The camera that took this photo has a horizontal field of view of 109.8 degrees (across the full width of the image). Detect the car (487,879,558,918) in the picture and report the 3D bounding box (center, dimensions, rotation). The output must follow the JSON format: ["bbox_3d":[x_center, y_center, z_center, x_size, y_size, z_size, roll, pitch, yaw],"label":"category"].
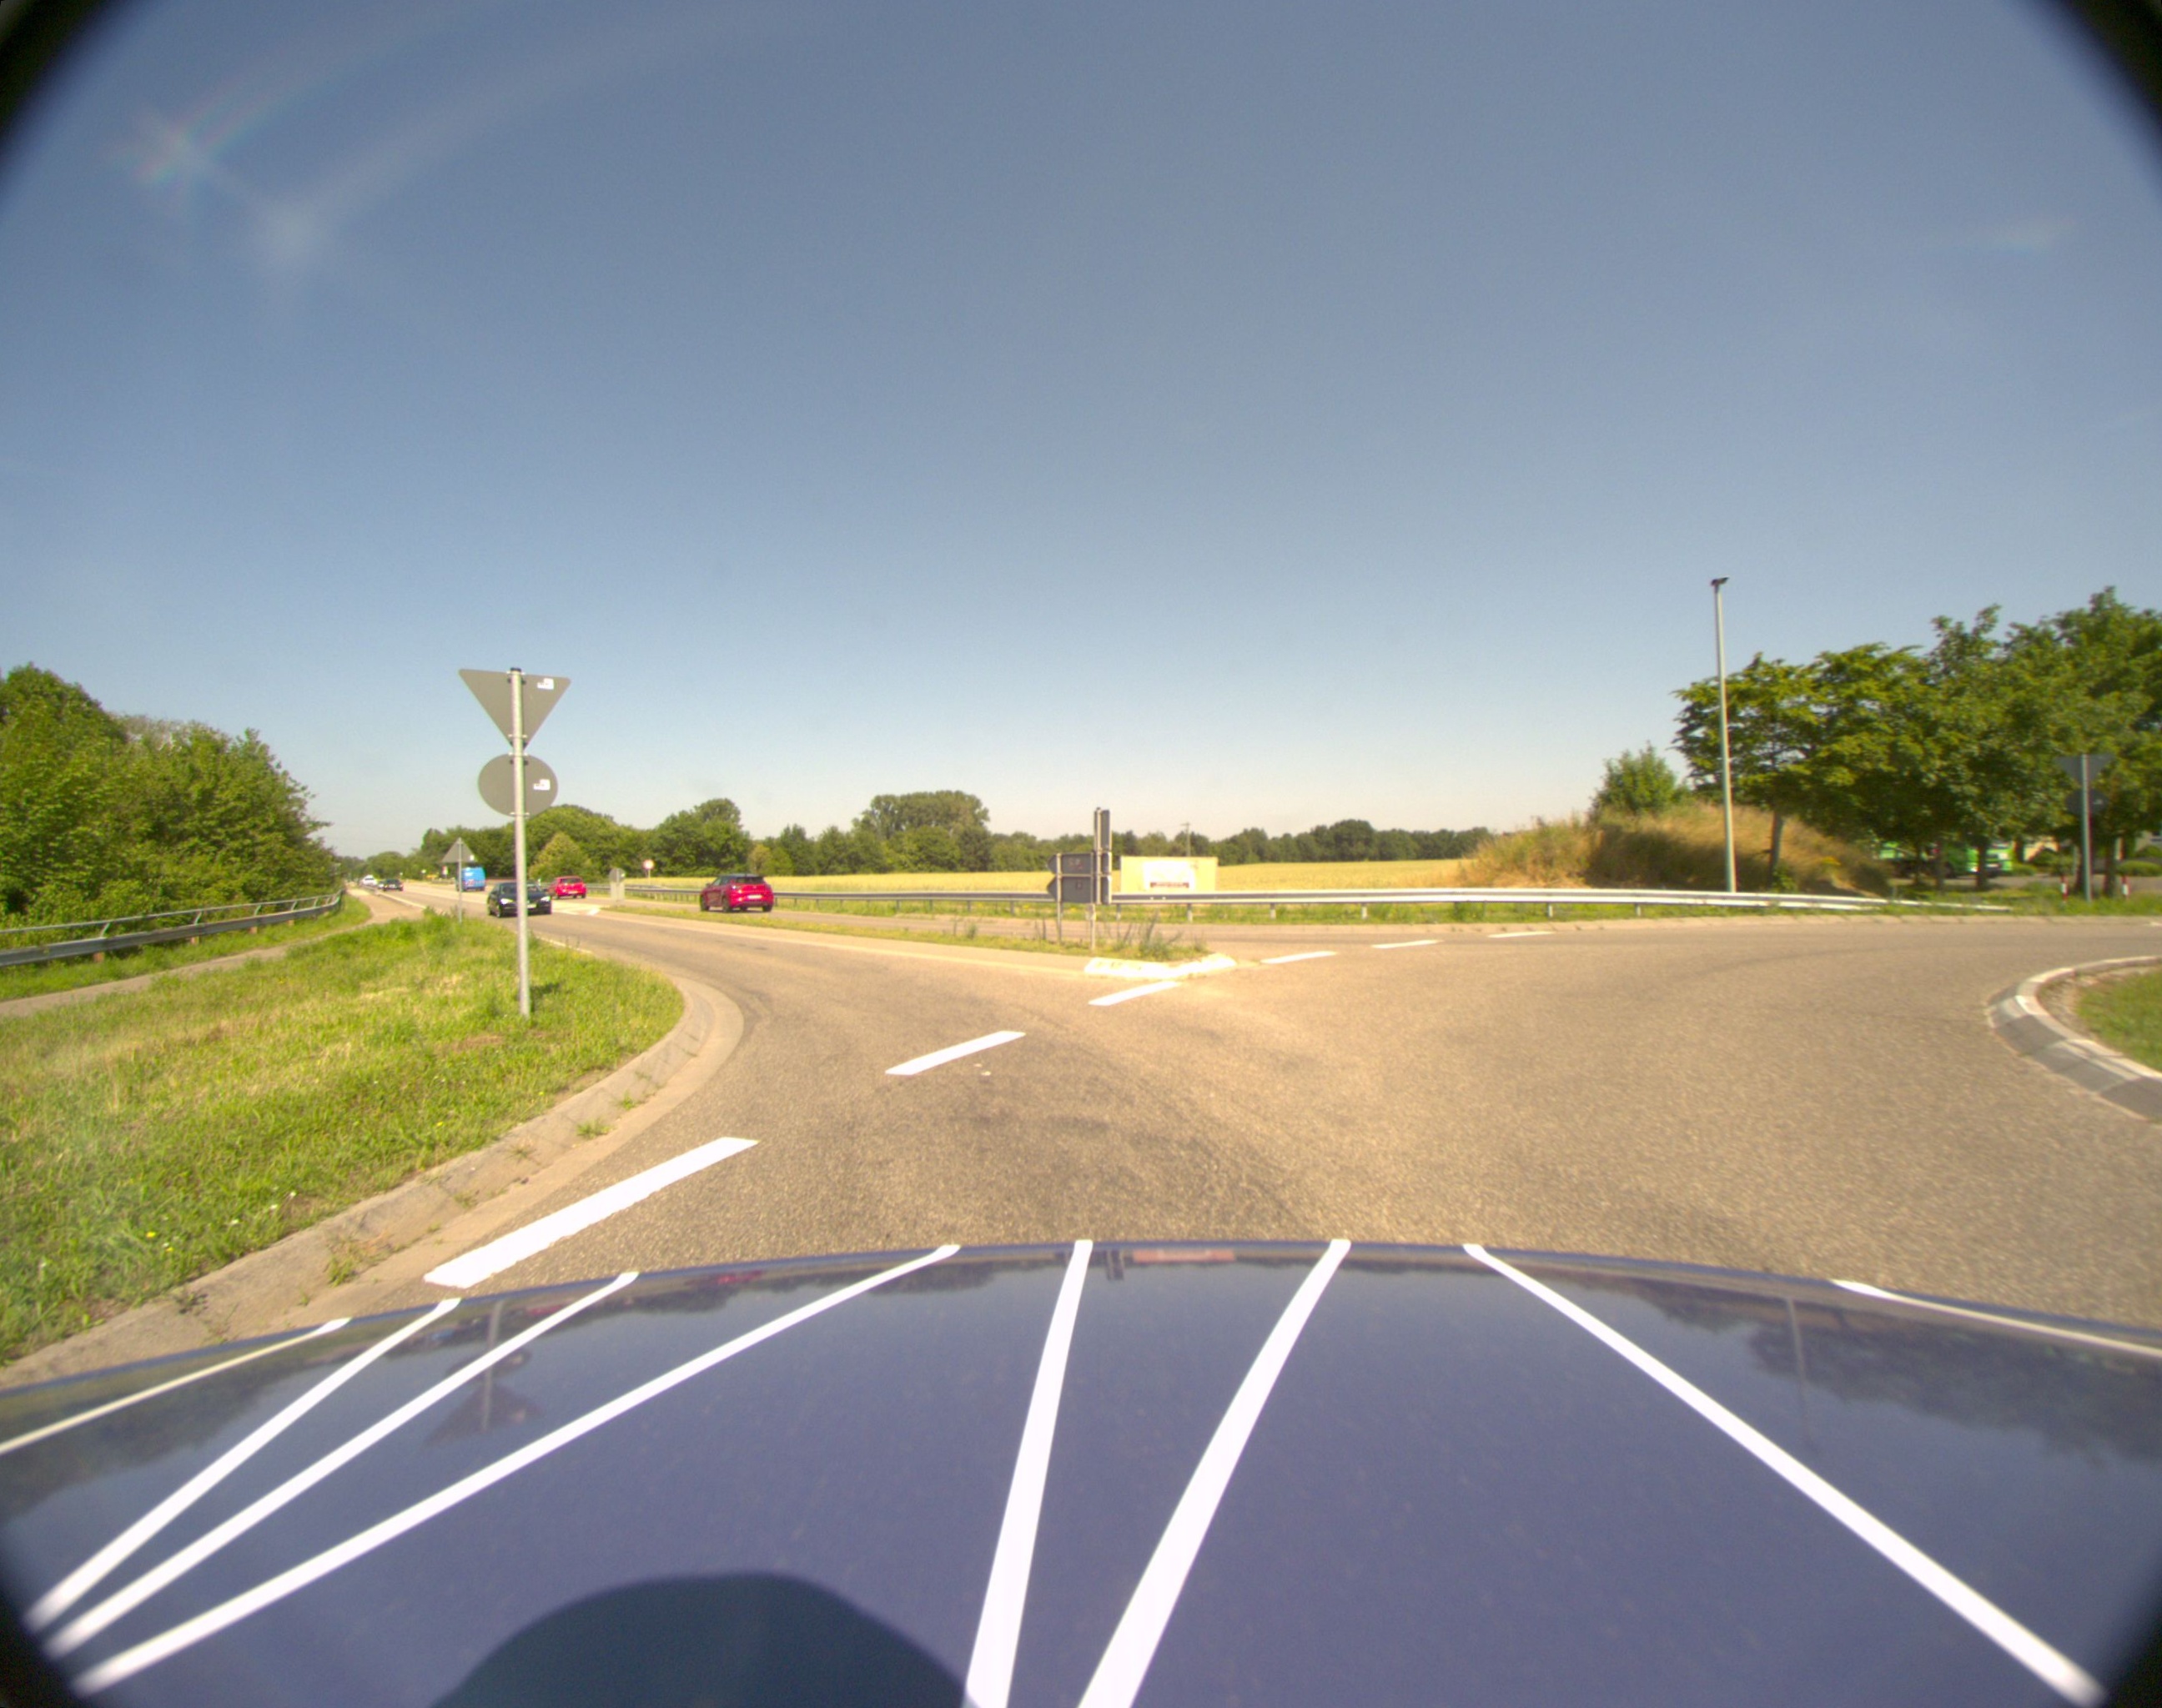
[{"bbox_3d":[-23.491,1.824,31.900,1.811,1.390,4.168,-2,1,-44],"label":"car"}]

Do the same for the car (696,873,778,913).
[{"bbox_3d":[-13.874,1.547,30.579,3.821,1.513,1.753,-3,-2,45],"label":"car"}]

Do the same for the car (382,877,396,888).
[{"bbox_3d":[-108.303,4.431,118.863,1.465,1.638,3.526,-3,1,-44],"label":"car"}]

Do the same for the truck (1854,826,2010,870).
[{"bbox_3d":[55.297,-0.386,49.717,2.518,2.634,7.692,-2,0,9],"label":"truck"}]

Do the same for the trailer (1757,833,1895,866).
[{"bbox_3d":[57.029,-0.363,58.665,1.997,2.264,10.499,-2,0,10],"label":"trailer"}]

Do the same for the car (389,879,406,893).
[{"bbox_3d":[-89.788,4.199,99.826,1.465,1.638,3.526,-3,1,-44],"label":"car"}]

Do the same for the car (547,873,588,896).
[{"bbox_3d":[-35.130,2.061,51.951,1.636,1.482,3.792,0,-1,-44],"label":"car"}]

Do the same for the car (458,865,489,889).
[{"bbox_3d":[-68.911,2.633,86.103,2.004,2.595,7.270,1,-2,-45],"label":"car"}]
